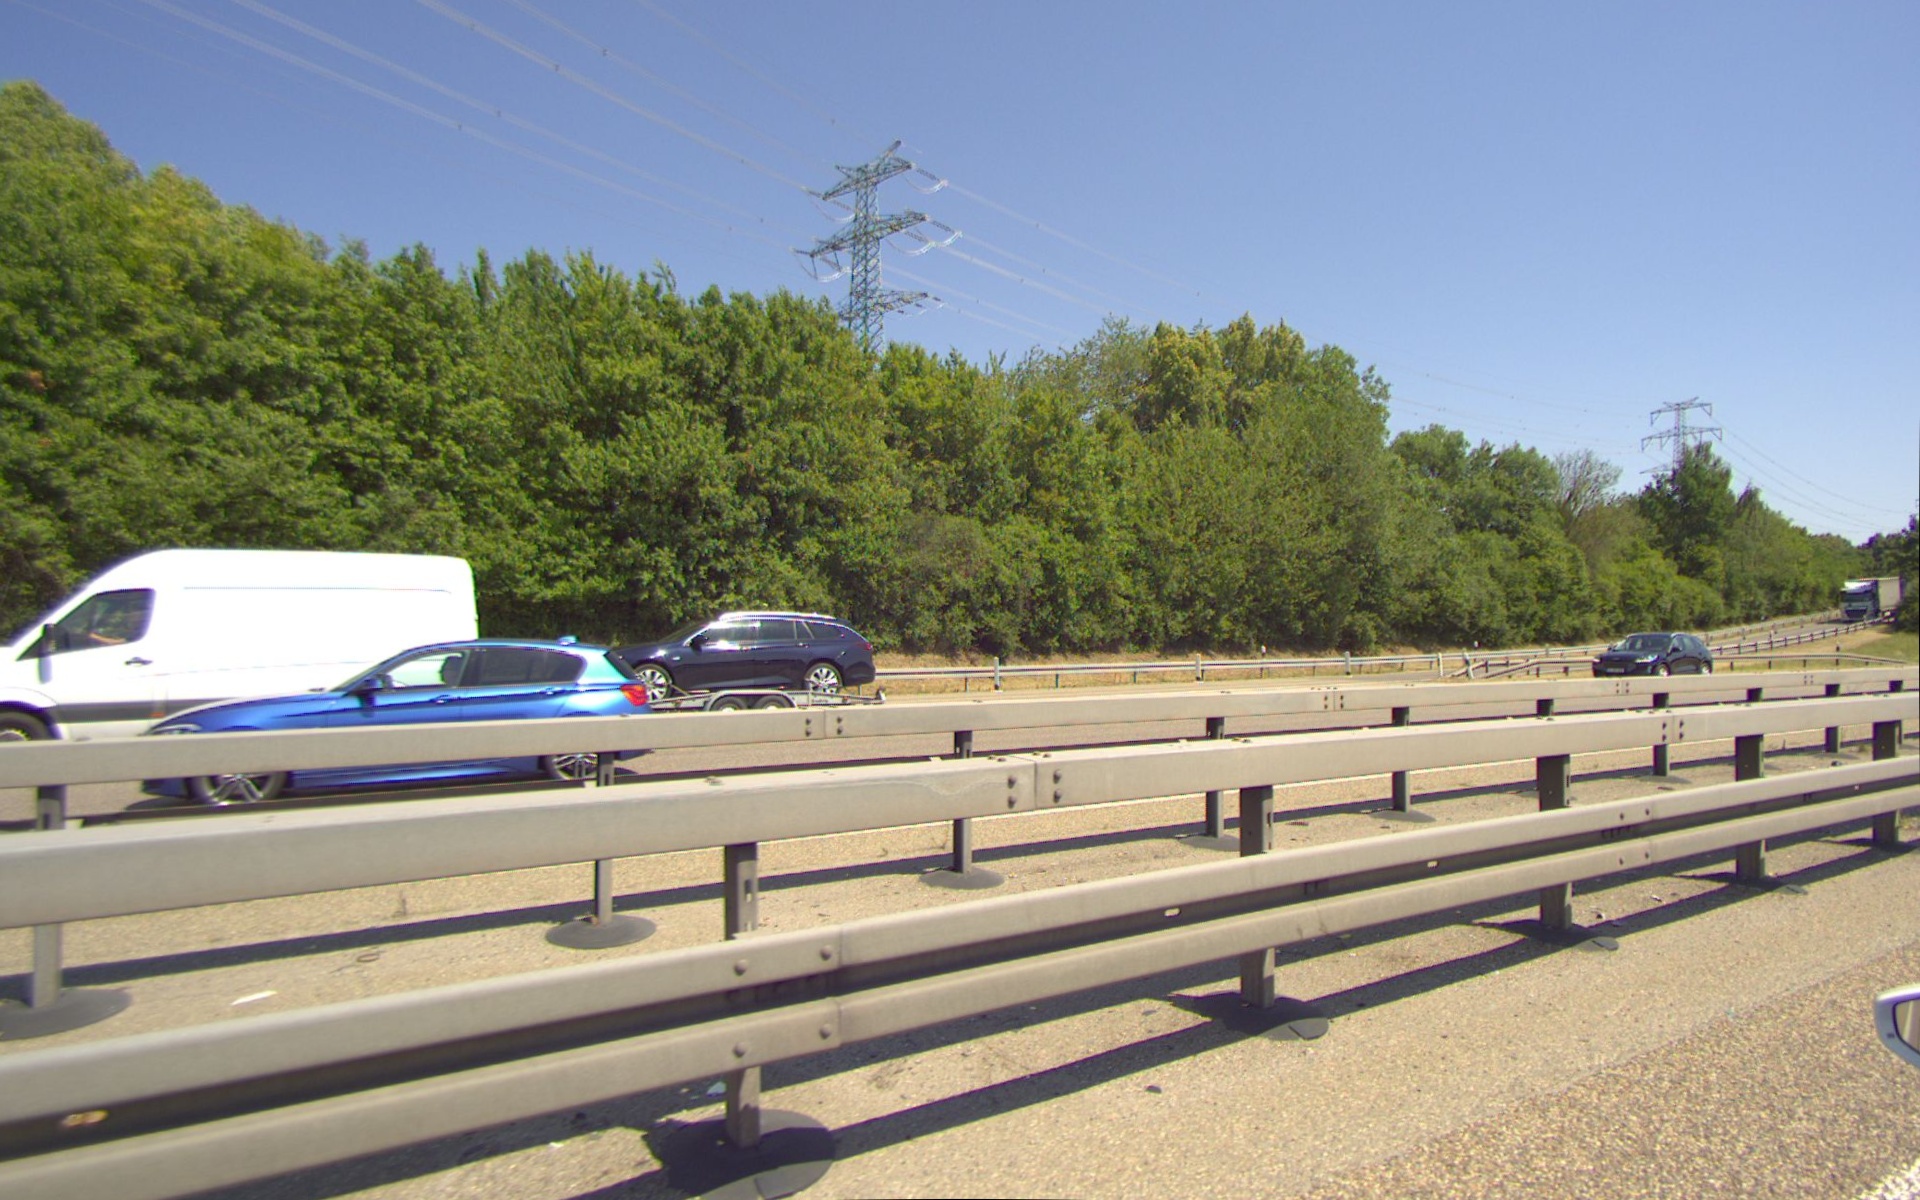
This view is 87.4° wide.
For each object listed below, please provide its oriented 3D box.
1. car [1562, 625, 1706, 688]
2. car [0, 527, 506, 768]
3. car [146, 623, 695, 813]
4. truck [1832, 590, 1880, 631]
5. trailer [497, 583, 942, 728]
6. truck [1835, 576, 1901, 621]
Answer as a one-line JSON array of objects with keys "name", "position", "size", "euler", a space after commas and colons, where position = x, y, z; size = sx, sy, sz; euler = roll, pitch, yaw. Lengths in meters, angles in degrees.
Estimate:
[{"name": "car", "position": [21.048, 1.741, 31.349], "size": [4.465, 1.823, 2.145], "euler": [2, -3, -33]}, {"name": "car", "position": [-9.338, 0.615, 13.205], "size": [5.935, 2.674, 2.099], "euler": [2, -2, -31]}, {"name": "car", "position": [-4.951, 1.027, 9.766], "size": [4.303, 1.492, 1.774], "euler": [2, -4, -30]}, {"name": "truck", "position": [88.761, 1.026, 99.537], "size": [4.287, 3.948, 2.920], "euler": [-1, 0, -39]}, {"name": "trailer", "position": [-3.839, 0.888, 16.519], "size": [6.645, 1.971, 2.752], "euler": [2, -3, -30]}, {"name": "truck", "position": [94.126, -0.241, 103.974], "size": [14.420, 4.399, 2.972], "euler": [-1, 0, -39]}]
